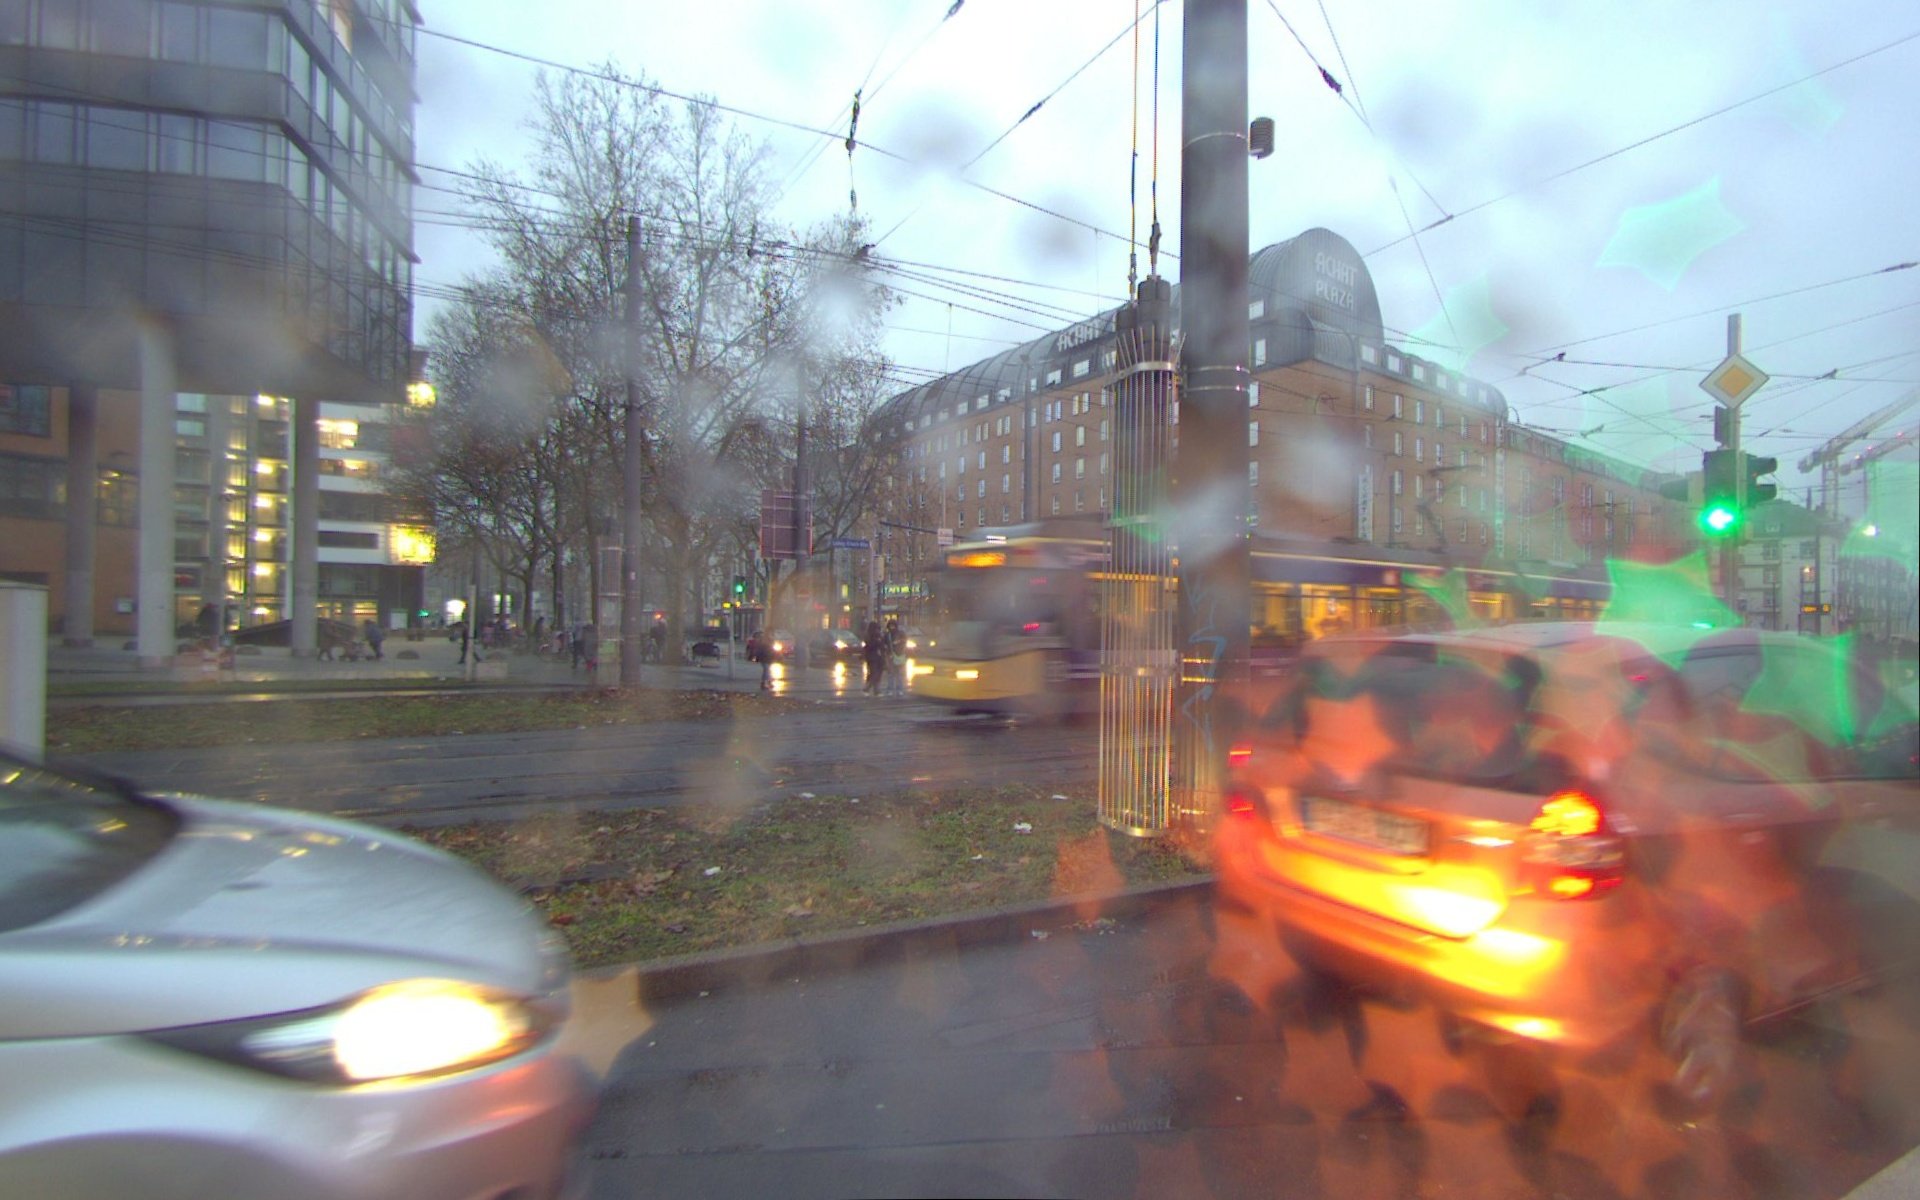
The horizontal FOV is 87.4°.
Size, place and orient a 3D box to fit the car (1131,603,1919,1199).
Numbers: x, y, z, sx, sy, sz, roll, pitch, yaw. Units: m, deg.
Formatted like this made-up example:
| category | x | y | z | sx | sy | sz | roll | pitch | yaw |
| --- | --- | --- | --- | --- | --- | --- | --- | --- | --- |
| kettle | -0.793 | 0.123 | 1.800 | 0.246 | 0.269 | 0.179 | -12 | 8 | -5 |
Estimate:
| category | x | y | z | sx | sy | sz | roll | pitch | yaw |
| --- | --- | --- | --- | --- | --- | --- | --- | --- | --- |
| car | 2.689 | 0.810 | 4.134 | 3.713 | 1.478 | 1.690 | 2 | -2 | -30 |

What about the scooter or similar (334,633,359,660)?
| category | x | y | z | sx | sy | sz | roll | pitch | yaw |
| --- | --- | --- | --- | --- | --- | --- | --- | --- | --- |
| scooter or similar | -22.084 | 1.676 | 36.161 | 0.657 | 0.973 | 0.550 | 1 | -2 | -24 |

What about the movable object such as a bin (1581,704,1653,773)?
| category | x | y | z | sx | sy | sz | roll | pitch | yaw |
| --- | --- | --- | --- | --- | --- | --- | --- | --- | --- |
| movable object such as a bin | 7.198 | 1.504 | 11.011 | 0.527 | 0.708 | 0.413 | 0 | -3 | 10 |

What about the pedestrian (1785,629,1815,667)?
| category | x | y | z | sx | sy | sz | roll | pitch | yaw |
| --- | --- | --- | --- | --- | --- | --- | --- | --- | --- |
| pedestrian | 46.616 | 2.671 | 55.743 | 0.820 | 2.040 | 0.980 | 1 | -1 | -15 |

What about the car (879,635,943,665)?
| category | x | y | z | sx | sy | sz | roll | pitch | yaw |
| --- | --- | --- | --- | --- | --- | --- | --- | --- | --- |
| car | -2.619 | 2.613 | 52.759 | 1.974 | 1.446 | 3.974 | 1 | -2 | -26 |

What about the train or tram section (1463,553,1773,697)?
| category | x | y | z | sx | sy | sz | roll | pitch | yaw |
| --- | --- | --- | --- | --- | --- | --- | --- | --- | --- |
| train or tram section | 22.225 | 0.916 | 32.780 | 19.050 | 3.662 | 2.842 | 2 | -2 | -39 |

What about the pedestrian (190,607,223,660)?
| category | x | y | z | sx | sy | sz | roll | pitch | yaw |
| --- | --- | --- | --- | --- | --- | --- | --- | --- | --- |
| pedestrian | -26.879 | 1.200 | 35.827 | 0.561 | 1.888 | 0.736 | 0 | -2 | 6 |

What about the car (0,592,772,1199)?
| category | x | y | z | sx | sy | sz | roll | pitch | yaw |
| --- | --- | --- | --- | --- | --- | --- | --- | --- | --- |
| car | -2.487 | 0.709 | 1.588 | 3.953 | 1.467 | 1.697 | 2 | 0 | -30 |

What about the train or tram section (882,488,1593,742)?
| category | x | y | z | sx | sy | sz | roll | pitch | yaw |
| --- | --- | --- | --- | --- | --- | --- | --- | --- | --- |
| train or tram section | 7.566 | 0.492 | 21.429 | 19.876 | 3.662 | 2.845 | 2 | -2 | -36 |

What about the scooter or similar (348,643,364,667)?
| category | x | y | z | sx | sy | sz | roll | pitch | yaw |
| --- | --- | --- | --- | --- | --- | --- | --- | --- | --- |
| scooter or similar | -22.228 | 2.017 | 36.983 | 0.426 | 0.861 | 0.550 | 1 | -2 | -24 |

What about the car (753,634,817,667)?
| category | x | y | z | sx | sy | sz | roll | pitch | yaw |
| --- | --- | --- | --- | --- | --- | --- | --- | --- | --- |
| car | -8.388 | 2.365 | 47.848 | 1.974 | 1.446 | 3.974 | 1 | -2 | -26 |

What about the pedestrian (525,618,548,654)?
| category | x | y | z | sx | sy | sz | roll | pitch | yaw |
| --- | --- | --- | --- | --- | --- | --- | --- | --- | --- |
| pedestrian | -21.325 | 1.809 | 50.580 | 0.804 | 1.783 | 0.735 | 1 | -2 | 0 |

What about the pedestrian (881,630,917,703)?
| category | x | y | z | sx | sy | sz | roll | pitch | yaw |
| --- | --- | --- | --- | --- | --- | --- | --- | --- | --- |
| pedestrian | -1.319 | 1.420 | 21.609 | 0.606 | 1.532 | 0.518 | 1 | -1 | -26 |

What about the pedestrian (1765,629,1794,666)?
| category | x | y | z | sx | sy | sz | roll | pitch | yaw |
| --- | --- | --- | --- | --- | --- | --- | --- | --- | --- |
| pedestrian | 45.269 | 2.621 | 55.494 | 0.820 | 2.040 | 0.980 | 1 | -1 | -15 |

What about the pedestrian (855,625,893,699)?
| category | x | y | z | sx | sy | sz | roll | pitch | yaw |
| --- | --- | --- | --- | --- | --- | --- | --- | --- | --- |
| pedestrian | -1.805 | 1.285 | 21.104 | 0.637 | 1.532 | 0.559 | 1 | -1 | -27 |

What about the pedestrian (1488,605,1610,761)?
| category | x | y | z | sx | sy | sz | roll | pitch | yaw |
| --- | --- | --- | --- | --- | --- | --- | --- | --- | --- |
| pedestrian | 6.393 | 0.889 | 10.964 | 1.017 | 1.621 | 0.716 | -1 | -3 | 22 |

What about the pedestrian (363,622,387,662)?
| category | x | y | z | sx | sy | sz | roll | pitch | yaw |
| --- | --- | --- | --- | --- | --- | --- | --- | --- | --- |
| pedestrian | -21.678 | 1.561 | 37.257 | 0.675 | 1.478 | 0.569 | 1 | -2 | -24 |

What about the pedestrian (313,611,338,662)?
| category | x | y | z | sx | sy | sz | roll | pitch | yaw |
| --- | --- | --- | --- | --- | --- | --- | --- | --- | --- |
| pedestrian | -22.674 | 1.317 | 35.902 | 0.628 | 1.797 | 0.569 | 1 | -2 | -24 |

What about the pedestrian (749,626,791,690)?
| category | x | y | z | sx | sy | sz | roll | pitch | yaw |
| --- | --- | --- | --- | --- | --- | --- | --- | --- | --- |
| pedestrian | -4.615 | 1.397 | 24.391 | 0.666 | 1.519 | 0.735 | 0 | -1 | 36 |

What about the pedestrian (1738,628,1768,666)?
| category | x | y | z | sx | sy | sz | roll | pitch | yaw |
| --- | --- | --- | --- | --- | --- | --- | --- | --- | --- |
| pedestrian | 43.877 | 2.576 | 55.577 | 0.820 | 2.040 | 0.980 | 1 | -1 | -15 |

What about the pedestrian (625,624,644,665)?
| category | x | y | z | sx | sy | sz | roll | pitch | yaw |
| --- | --- | --- | --- | --- | --- | --- | --- | --- | --- |
| pedestrian | -13.913 | 1.894 | 42.941 | 0.679 | 1.728 | 0.526 | 1 | -2 | -6 |

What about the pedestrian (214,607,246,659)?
| category | x | y | z | sx | sy | sz | roll | pitch | yaw |
| --- | --- | --- | --- | --- | --- | --- | --- | --- | --- |
| pedestrian | -26.756 | 1.201 | 36.819 | 0.561 | 1.888 | 0.736 | 0 | -2 | 5 |

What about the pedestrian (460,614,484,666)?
| category | x | y | z | sx | sy | sz | roll | pitch | yaw |
| --- | --- | --- | --- | --- | --- | --- | --- | --- | --- |
| pedestrian | -18.052 | 1.470 | 37.185 | 0.725 | 1.888 | 0.569 | 1 | -2 | -24 |

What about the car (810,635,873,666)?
| category | x | y | z | sx | sy | sz | roll | pitch | yaw |
| --- | --- | --- | --- | --- | --- | --- | --- | --- | --- |
| car | -5.990 | 2.484 | 50.496 | 1.974 | 1.446 | 3.974 | 1 | -2 | -26 |
